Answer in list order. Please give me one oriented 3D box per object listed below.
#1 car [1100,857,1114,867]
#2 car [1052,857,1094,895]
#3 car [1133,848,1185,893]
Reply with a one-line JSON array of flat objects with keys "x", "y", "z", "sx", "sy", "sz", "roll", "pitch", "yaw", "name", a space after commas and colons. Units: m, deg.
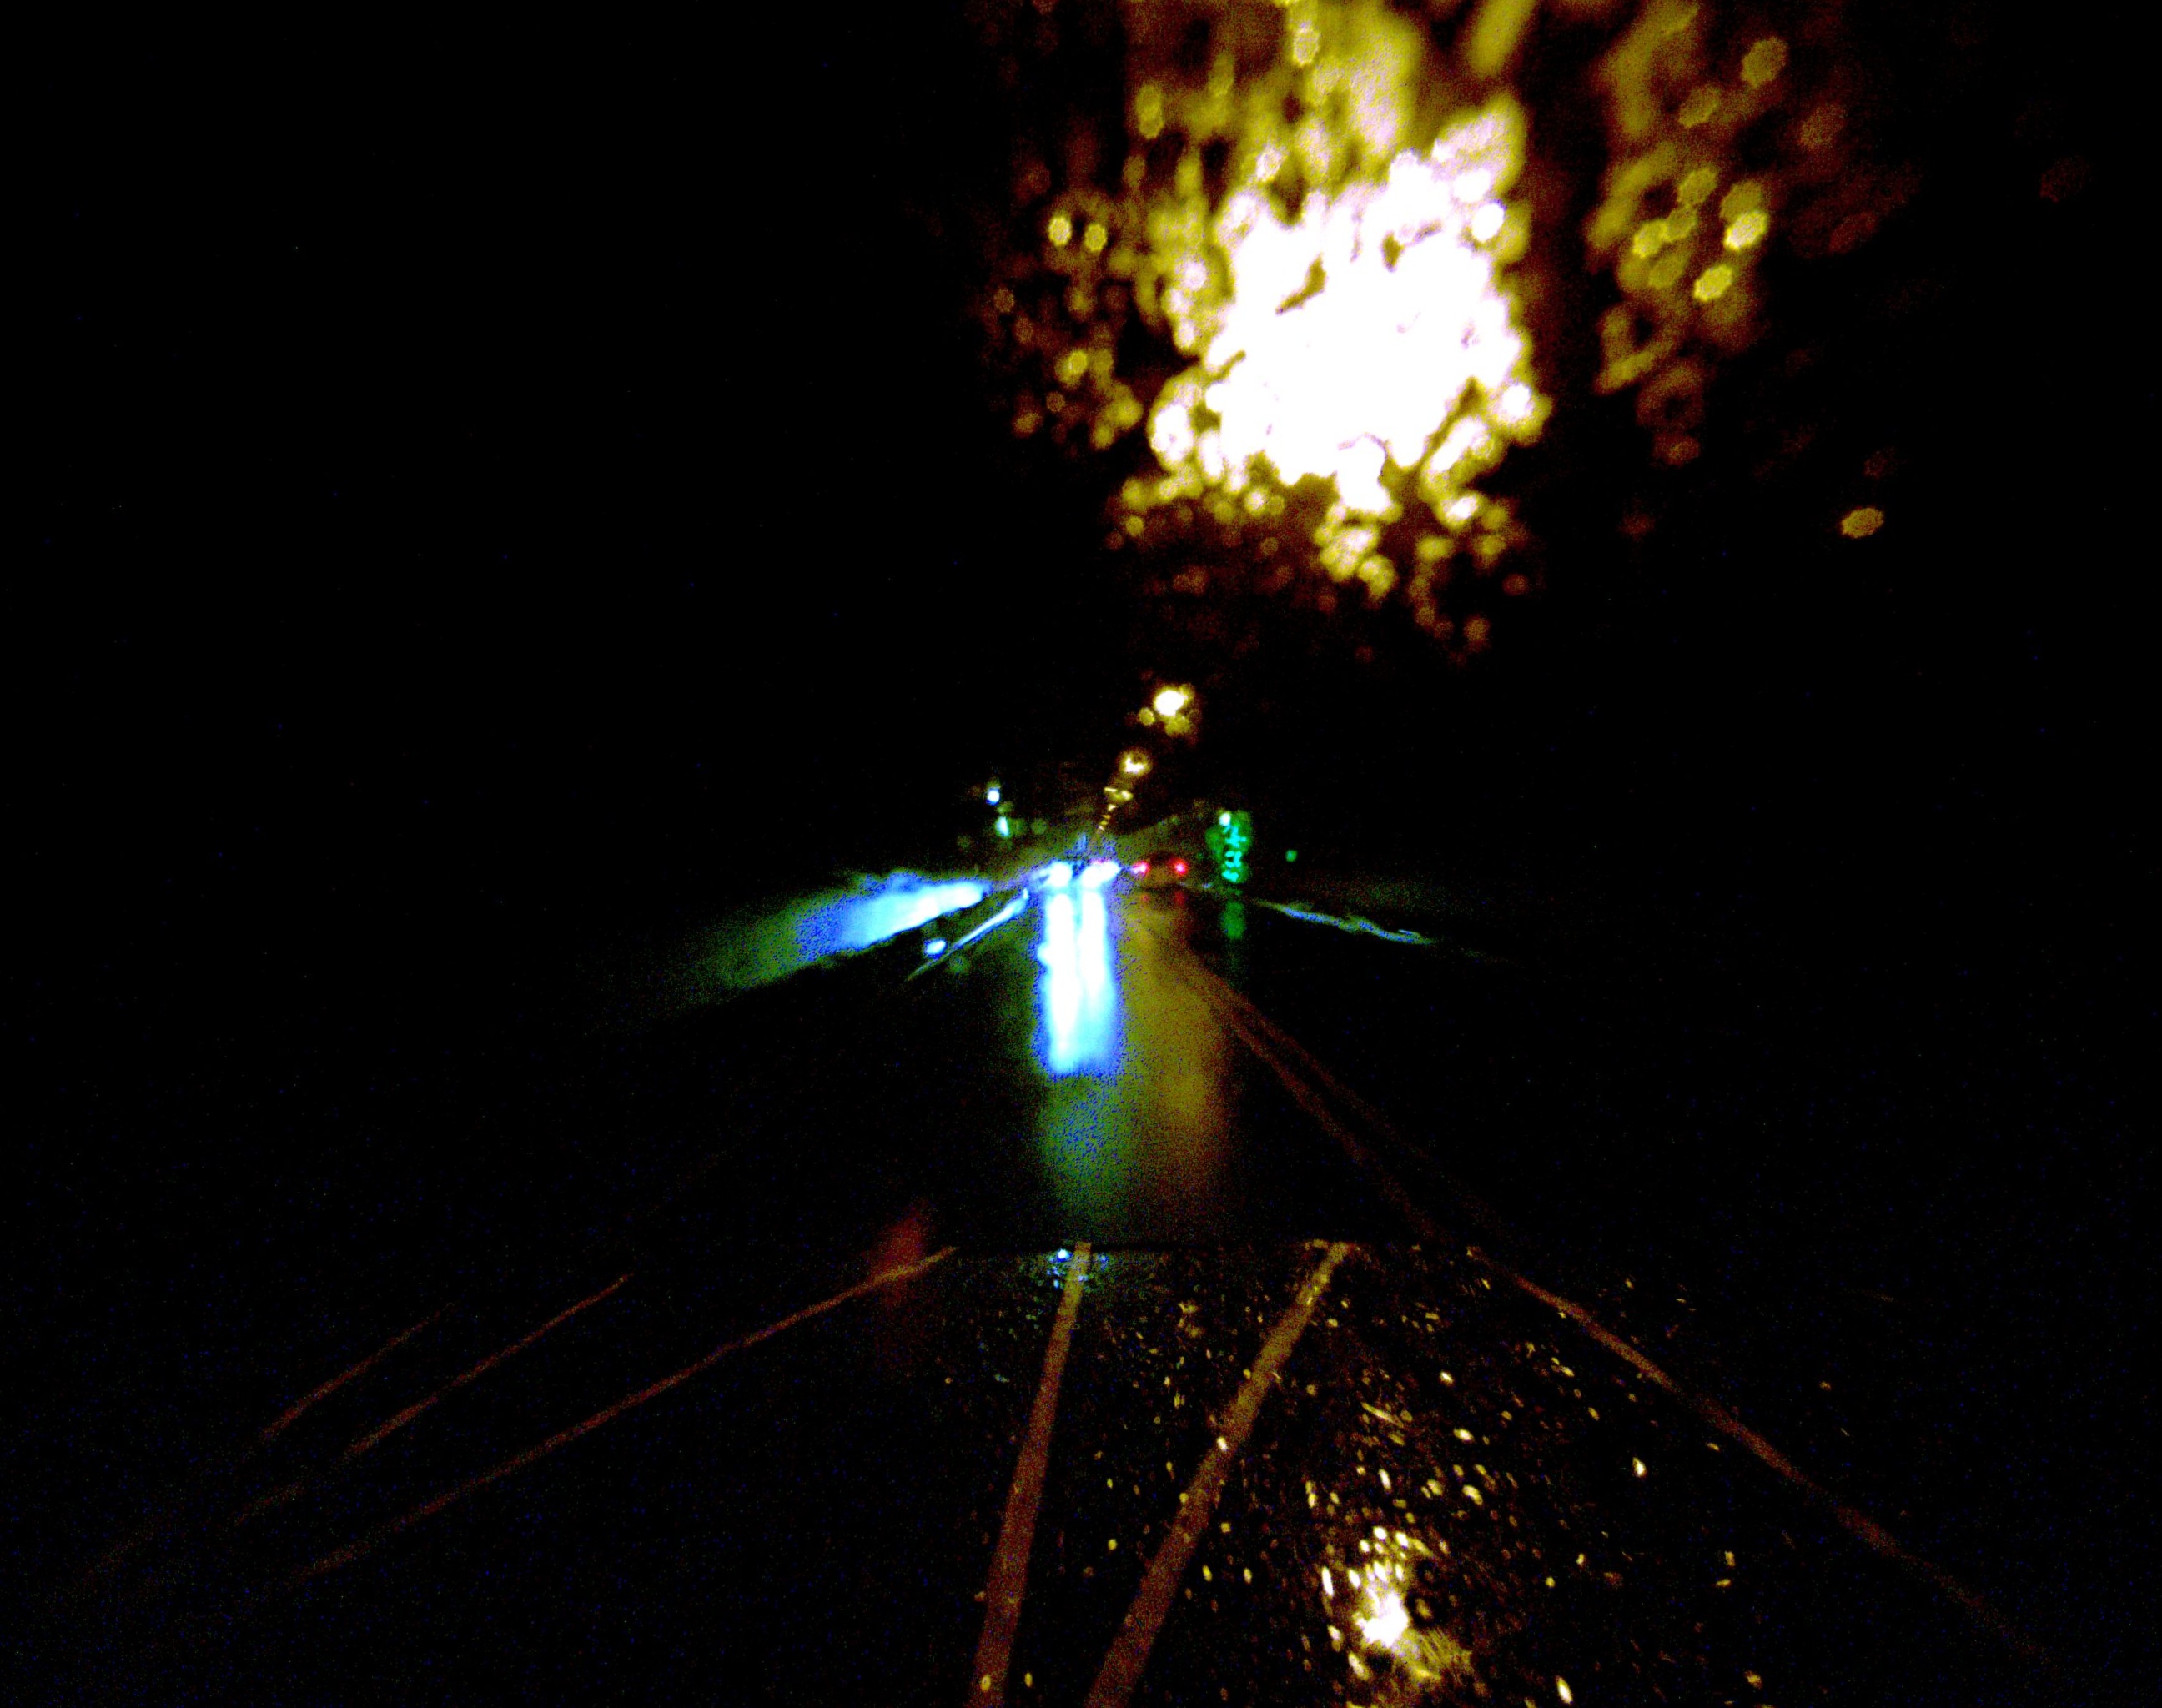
[{"x": 3.915, "y": 1.199, "z": 116.228, "sx": 1.998, "sy": 1.410, "sz": 4.713, "roll": 0, "pitch": 0, "yaw": 0, "name": "car"}, {"x": -0.327, "y": 0.959, "z": 35.255, "sx": 1.829, "sy": 1.650, "sz": 3.929, "roll": 0, "pitch": 0, "yaw": 0, "name": "car"}, {"x": 3.690, "y": 0.747, "z": 36.496, "sx": 2.090, "sy": 2.002, "sz": 4.560, "roll": -1, "pitch": 0, "yaw": 1, "name": "car"}]
